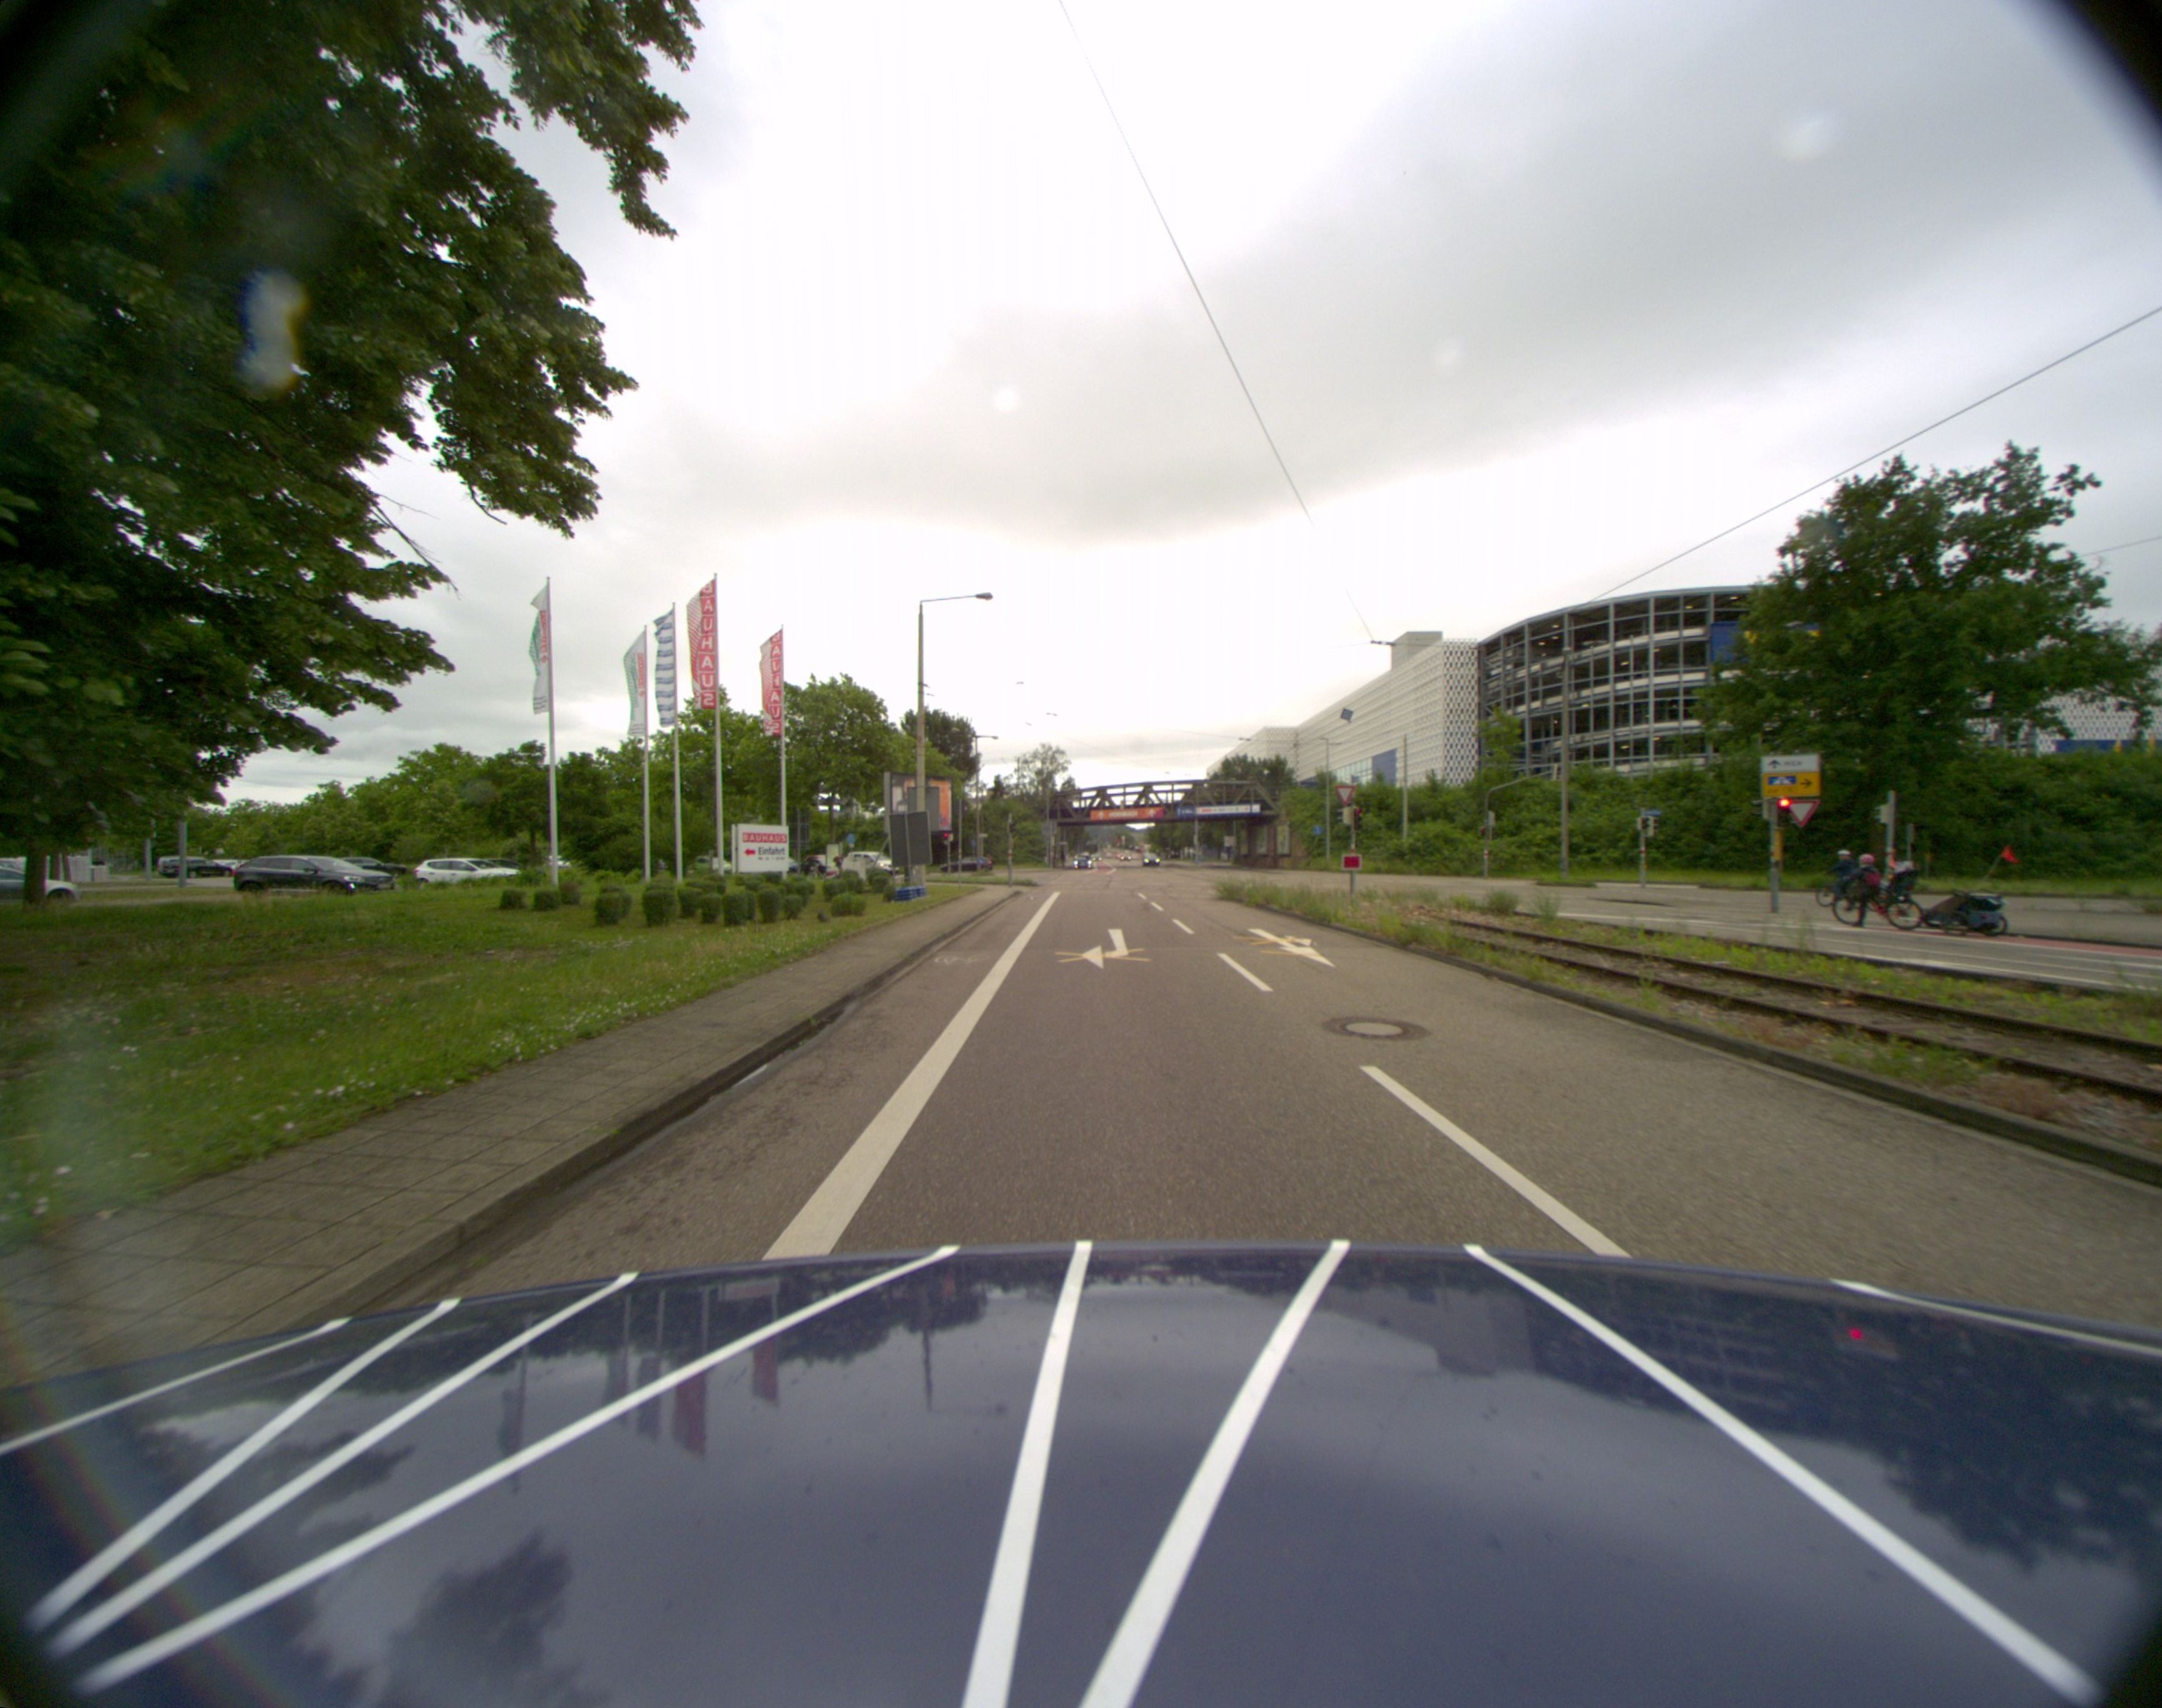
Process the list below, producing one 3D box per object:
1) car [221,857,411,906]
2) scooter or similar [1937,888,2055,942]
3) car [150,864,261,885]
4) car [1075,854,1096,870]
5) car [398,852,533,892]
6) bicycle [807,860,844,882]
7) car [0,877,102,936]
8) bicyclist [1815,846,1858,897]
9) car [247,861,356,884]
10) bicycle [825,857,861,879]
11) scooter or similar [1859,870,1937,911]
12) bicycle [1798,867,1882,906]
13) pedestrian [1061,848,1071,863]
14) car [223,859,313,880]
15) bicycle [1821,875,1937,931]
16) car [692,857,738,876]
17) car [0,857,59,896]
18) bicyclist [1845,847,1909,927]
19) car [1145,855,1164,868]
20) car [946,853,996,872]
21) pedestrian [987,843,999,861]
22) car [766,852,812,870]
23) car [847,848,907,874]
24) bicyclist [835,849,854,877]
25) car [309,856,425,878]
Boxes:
[{"bbox_3d":[-27.364,0.949,27.330,4.612,1.488,1.930,-2,1,-4],"label":"car"},{"bbox_3d":[17.277,1.130,14.394,0.845,0.902,1.199,-2,0,10],"label":"scooter or similar"},{"bbox_3d":[-73.049,1.681,63.530,5.731,1.667,2.151,0,1,-19],"label":"car"},{"bbox_3d":[0.452,0.836,79.933,1.788,1.637,3.998,0,0,-6],"label":"car"},{"bbox_3d":[-27.016,0.766,33.482,4.233,1.488,1.930,-2,1,-3],"label":"car"},{"bbox_3d":[-13.566,0.909,40.381,1.811,1.111,0.487,-1,1,-37],"label":"bicycle"},{"bbox_3d":[-33.512,1.669,22.907,1.998,1.661,4.505,-2,1,2],"label":"car"},{"bbox_3d":[22.933,0.538,23.086,0.647,1.509,0.626,-2,0,5],"label":"bicyclist"},{"bbox_3d":[-62.120,1.410,60.675,2.149,1.667,5.737,0,1,31],"label":"car"},{"bbox_3d":[-12.989,0.752,41.517,1.890,1.142,0.583,0,1,17],"label":"bicycle"},{"bbox_3d":[22.861,0.996,21.291,0.647,1.056,1.450,-2,0,4],"label":"scooter or similar"},{"bbox_3d":[22.948,0.962,23.032,0.647,1.056,2.001,-2,0,4],"label":"bicycle"},{"bbox_3d":[-1.813,0.190,92.196,0.785,1.749,0.876,0,1,29],"label":"pedestrian"},{"bbox_3d":[-77.788,1.446,72.771,2.149,1.883,5.738,1,1,41],"label":"car"},{"bbox_3d":[17.207,1.020,16.452,0.646,1.056,2.026,-2,0,10],"label":"bicycle"},{"bbox_3d":[-31.157,1.059,64.701,3.989,1.524,1.788,-2,1,37],"label":"car"},{"bbox_3d":[-44.444,0.901,30.376,4.564,1.498,1.987,0,1,2],"label":"car"},{"bbox_3d":[17.186,0.703,16.425,0.646,1.673,0.686,-2,0,10],"label":"bicyclist"},{"bbox_3d":[8.686,0.915,90.377,1.836,1.416,4.000,-2,0,1],"label":"car"},{"bbox_3d":[-9.313,0.721,64.596,3.998,1.416,1.837,-2,0,-3],"label":"car"},{"bbox_3d":[-7.993,-0.165,69.008,0.745,1.630,0.776,-1,1,-38],"label":"pedestrian"},{"bbox_3d":[-25.004,0.610,65.083,4.054,1.473,1.700,0,1,35],"label":"car"},{"bbox_3d":[-15.518,0.507,57.742,4.408,1.818,1.884,0,2,34],"label":"car"},{"bbox_3d":[-12.906,0.474,41.470,0.758,1.511,0.583,0,1,17],"label":"bicyclist"},{"bbox_3d":[-51.528,0.875,54.961,2.149,1.432,5.737,0,1,31],"label":"car"}]
